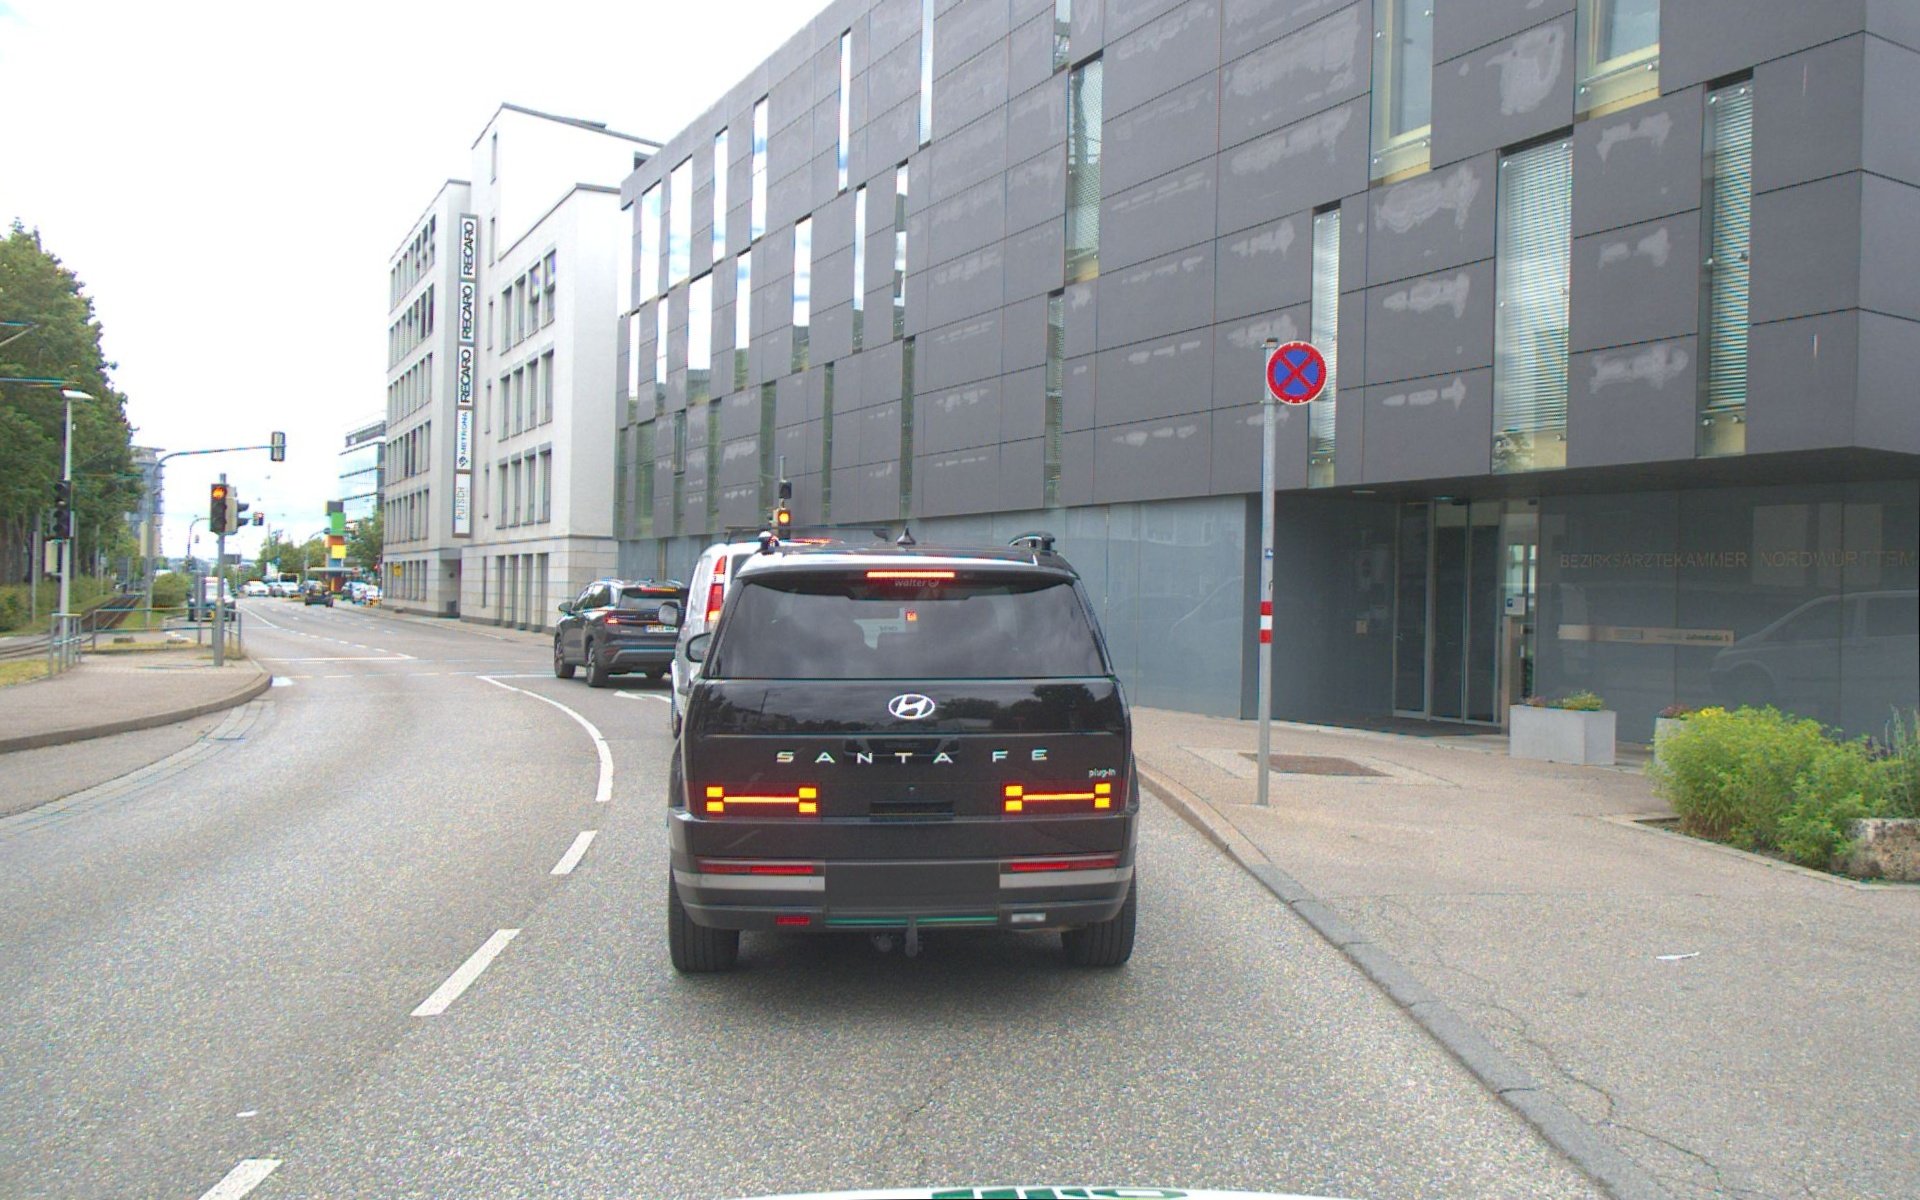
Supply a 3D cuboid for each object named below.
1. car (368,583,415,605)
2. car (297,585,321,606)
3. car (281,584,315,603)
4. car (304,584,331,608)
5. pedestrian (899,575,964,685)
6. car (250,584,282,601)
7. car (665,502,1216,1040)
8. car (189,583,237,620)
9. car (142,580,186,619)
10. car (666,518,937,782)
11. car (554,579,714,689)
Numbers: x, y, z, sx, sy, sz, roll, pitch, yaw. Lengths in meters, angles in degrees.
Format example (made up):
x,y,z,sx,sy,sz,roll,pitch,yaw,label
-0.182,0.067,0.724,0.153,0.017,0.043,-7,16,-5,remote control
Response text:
x,y,z,sx,sy,sz,roll,pitch,yaw,label
-46.207,-0.522,134.377,3.929,1.707,1.988,1,0,42,car
-53.312,-0.357,135.371,1.735,1.637,4.159,1,0,-23,car
-61.445,-0.615,153.467,1.979,1.733,3.946,1,0,-38,car
-46.212,-0.293,118.920,1.735,1.637,4.159,1,0,-23,car
-0.462,0.475,26.604,0.703,1.724,0.858,2,-1,-28,pedestrian
-68.961,-0.787,164.226,1.980,1.606,3.946,1,0,-38,car
-0.303,0.561,7.777,1.872,1.780,4.390,0,0,-7,car
-31.290,0.060,69.359,1.744,1.504,3.971,-1,0,-23,car
-38.447,-0.039,79.907,1.658,1.840,4.321,-1,0,-23,car
-1.606,0.387,15.110,1.898,2.029,4.520,1,0,-13,car
-5.351,0.497,26.792,1.735,1.637,4.159,1,0,-23,car
